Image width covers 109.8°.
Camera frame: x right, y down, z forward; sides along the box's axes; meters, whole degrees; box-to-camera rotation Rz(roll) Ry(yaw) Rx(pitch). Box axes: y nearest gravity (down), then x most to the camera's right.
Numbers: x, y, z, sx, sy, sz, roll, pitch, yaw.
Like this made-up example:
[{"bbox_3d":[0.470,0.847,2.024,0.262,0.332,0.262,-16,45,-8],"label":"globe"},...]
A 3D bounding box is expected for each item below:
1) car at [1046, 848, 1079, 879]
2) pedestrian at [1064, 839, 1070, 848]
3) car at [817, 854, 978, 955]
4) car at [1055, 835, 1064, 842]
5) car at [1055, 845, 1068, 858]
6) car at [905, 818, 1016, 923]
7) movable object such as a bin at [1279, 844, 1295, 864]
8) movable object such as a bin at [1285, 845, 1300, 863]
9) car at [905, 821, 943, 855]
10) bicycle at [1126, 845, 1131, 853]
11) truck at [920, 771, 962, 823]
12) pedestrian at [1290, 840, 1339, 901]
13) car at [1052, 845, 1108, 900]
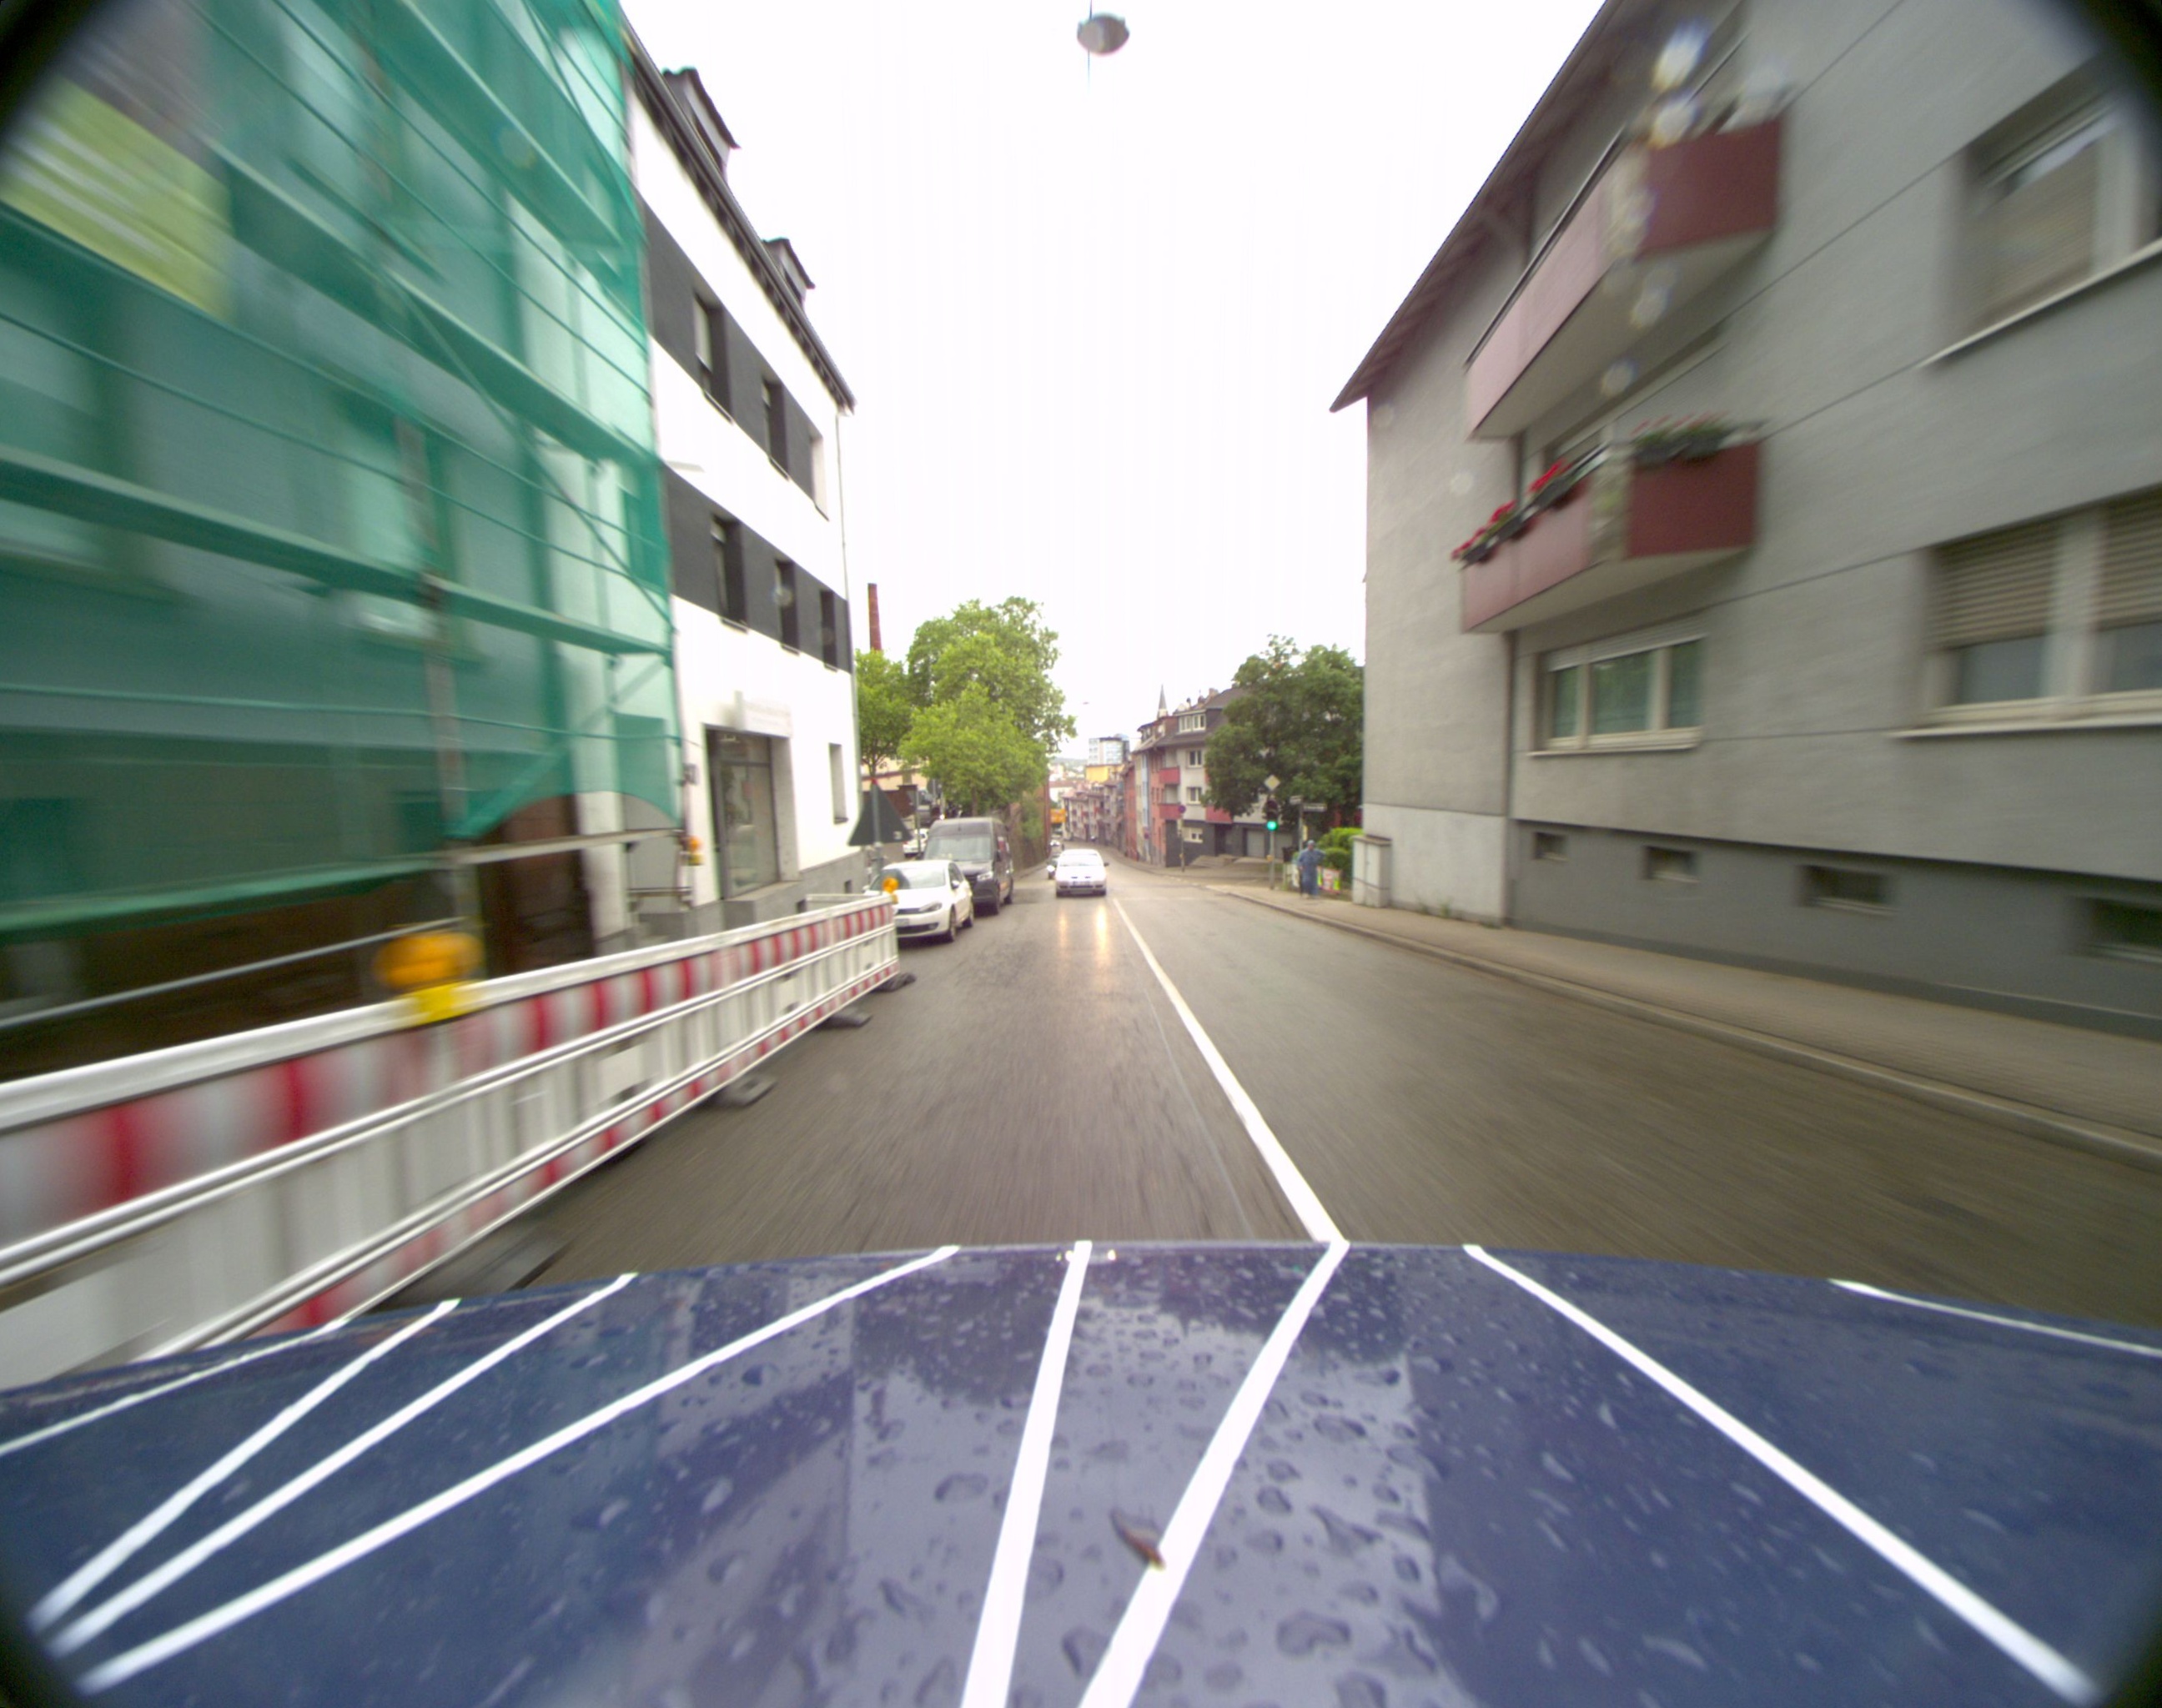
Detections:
[{"bbox_3d":[-1.045,0.528,45.100,1.720,1.528,3.998,-3,3,1],"label":"car"},{"bbox_3d":[-2.506,-1.875,133.783,0.871,1.532,1.087,-3,0,-3],"label":"pedestrian"},{"bbox_3d":[-3.348,0.843,14.841,1.998,1.503,4.336,-3,1,0],"label":"car"},{"bbox_3d":[-4.917,-3.443,169.966,1.638,1.521,3.997,-3,1,-6],"label":"car"},{"bbox_3d":[-2.539,-0.361,99.031,1.637,1.521,3.999,-3,1,-1],"label":"car"},{"bbox_3d":[-3.114,0.272,21.030,1.998,2.401,5.833,-3,3,0],"label":"car"},{"bbox_3d":[12.525,-0.024,46.268,0.562,1.193,0.687,-5,3,-26],"label":"movable object such as a bin"},{"bbox_3d":[12.719,0.013,45.658,0.630,1.010,0.499,-5,3,-25],"label":"movable object such as a bin"},{"bbox_3d":[-9.807,-1.045,47.729,1.635,1.486,4.339,-3,9,-3],"label":"car"},{"bbox_3d":[7.018,-0.727,112.274,0.572,1.111,2.039,-4,2,1],"label":"bicycle"},{"bbox_3d":[-11.958,-5.125,65.848,2.756,3.296,11.201,0,10,-6],"label":"truck"},{"bbox_3d":[6.186,0.425,20.164,0.871,1.532,1.087,-3,1,-3],"label":"pedestrian"},{"bbox_3d":[-0.045,0.556,26.273,1.720,1.528,3.998,-3,3,0],"label":"car"}]
